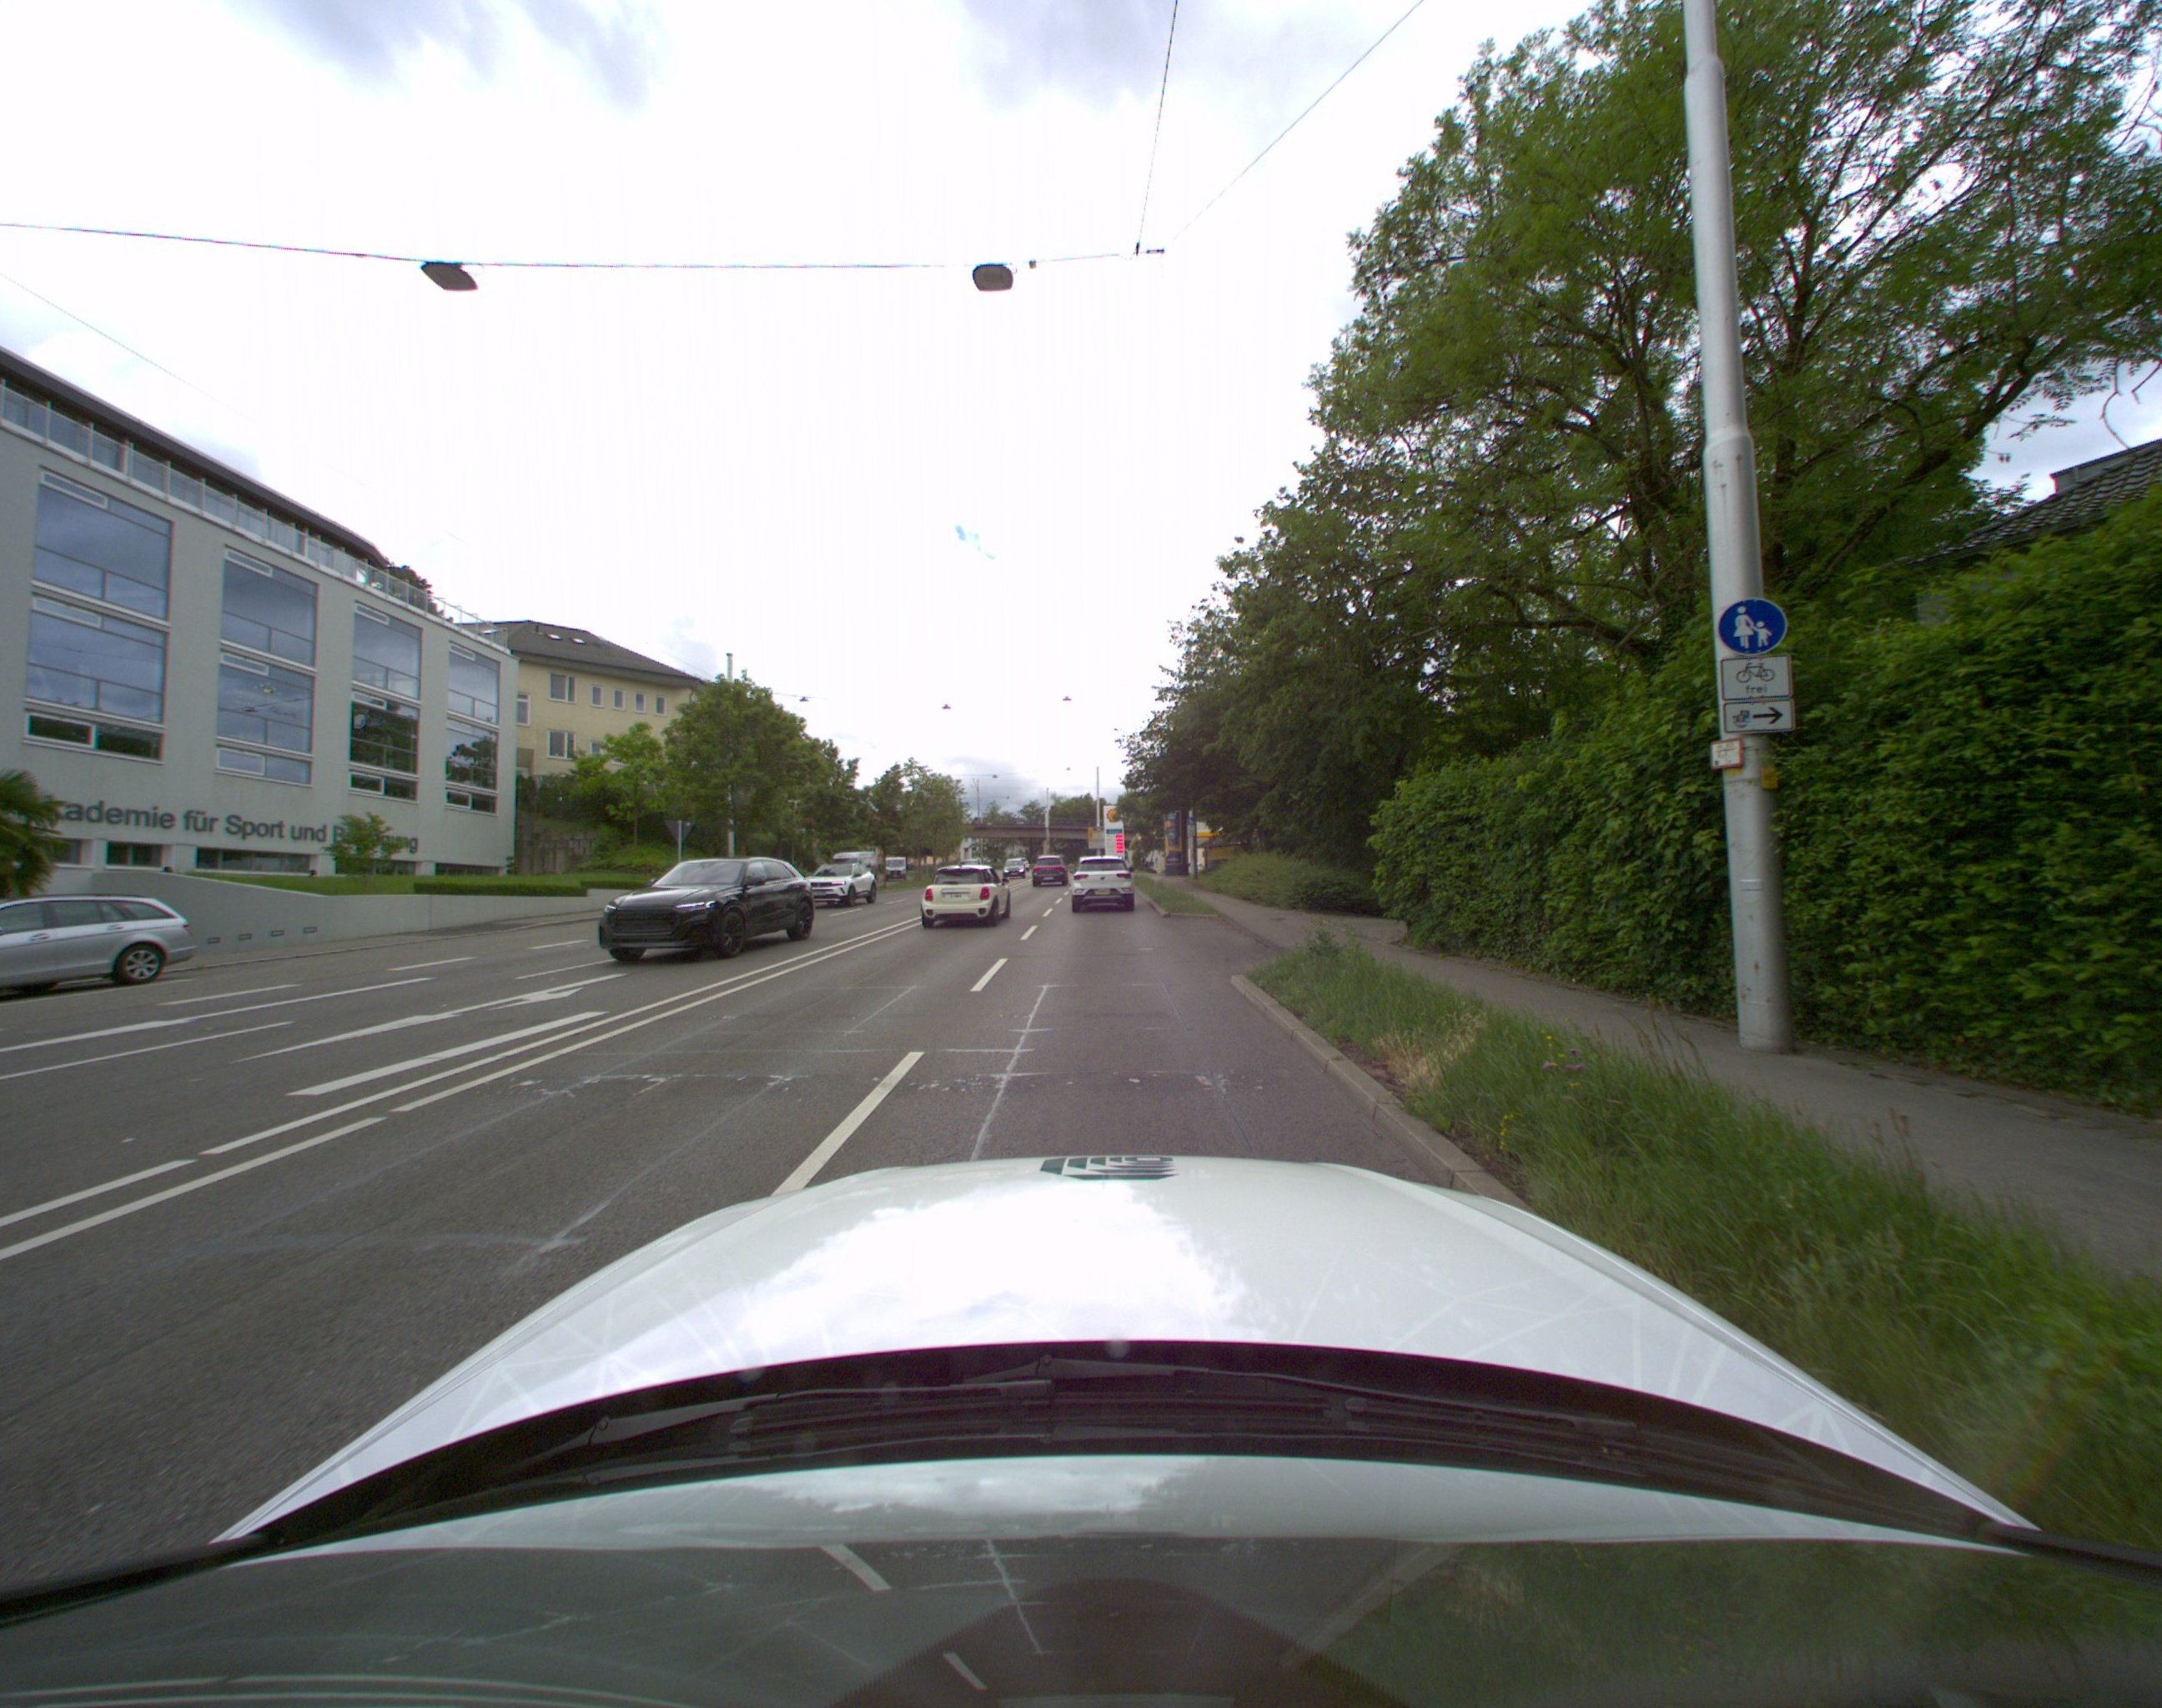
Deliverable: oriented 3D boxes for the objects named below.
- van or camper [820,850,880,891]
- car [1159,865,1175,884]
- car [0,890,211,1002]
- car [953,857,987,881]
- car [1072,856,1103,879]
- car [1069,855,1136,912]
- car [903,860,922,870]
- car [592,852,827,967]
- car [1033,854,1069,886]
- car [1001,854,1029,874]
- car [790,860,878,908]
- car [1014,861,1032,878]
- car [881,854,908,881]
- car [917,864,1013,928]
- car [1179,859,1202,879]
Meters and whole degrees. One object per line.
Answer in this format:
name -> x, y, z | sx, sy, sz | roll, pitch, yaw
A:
van or camper -> -15.250, 1.052, 54.175 | 1.985, 2.473, 5.714 | -2, -1, 3
car -> 10.714, 2.576, 101.545 | 1.728, 2.011, 4.716 | -2, -4, 3
car -> -15.571, 1.340, 11.555 | 1.667, 1.428, 4.417 | -2, 0, 0
car -> -8.265, 1.082, 61.109 | 1.757, 1.708, 4.872 | -1, 0, 2
car -> 0.414, 0.876, 53.913 | 1.673, 1.409, 3.450 | -1, 0, -5
car -> 0.636, 0.810, 23.834 | 1.790, 1.519, 3.457 | -1, 0, 1
car -> -27.767, 1.838, 133.899 | 1.795, 1.575, 4.427 | -3, 0, -28
car -> -6.452, 0.871, 14.884 | 1.839, 1.703, 4.767 | -2, 0, 3
car -> -1.629, 0.839, 44.660 | 1.716, 1.640, 3.457 | -1, 0, 1
car -> -5.386, 0.811, 67.029 | 1.757, 1.592, 4.367 | -1, 0, 1
car -> -8.633, 0.996, 28.793 | 1.794, 1.542, 3.923 | -2, 0, 1
car -> -6.994, 1.807, 97.735 | 1.896, 1.937, 3.990 | -1, 0, -7
car -> -17.484, 1.275, 76.610 | 2.269, 2.273, 6.302 | -2, -1, -11
car -> -2.732, 0.954, 19.828 | 1.716, 1.376, 3.457 | -1, 0, 1
car -> 9.537, 1.296, 71.128 | 1.728, 1.486, 3.880 | -2, -4, 3
